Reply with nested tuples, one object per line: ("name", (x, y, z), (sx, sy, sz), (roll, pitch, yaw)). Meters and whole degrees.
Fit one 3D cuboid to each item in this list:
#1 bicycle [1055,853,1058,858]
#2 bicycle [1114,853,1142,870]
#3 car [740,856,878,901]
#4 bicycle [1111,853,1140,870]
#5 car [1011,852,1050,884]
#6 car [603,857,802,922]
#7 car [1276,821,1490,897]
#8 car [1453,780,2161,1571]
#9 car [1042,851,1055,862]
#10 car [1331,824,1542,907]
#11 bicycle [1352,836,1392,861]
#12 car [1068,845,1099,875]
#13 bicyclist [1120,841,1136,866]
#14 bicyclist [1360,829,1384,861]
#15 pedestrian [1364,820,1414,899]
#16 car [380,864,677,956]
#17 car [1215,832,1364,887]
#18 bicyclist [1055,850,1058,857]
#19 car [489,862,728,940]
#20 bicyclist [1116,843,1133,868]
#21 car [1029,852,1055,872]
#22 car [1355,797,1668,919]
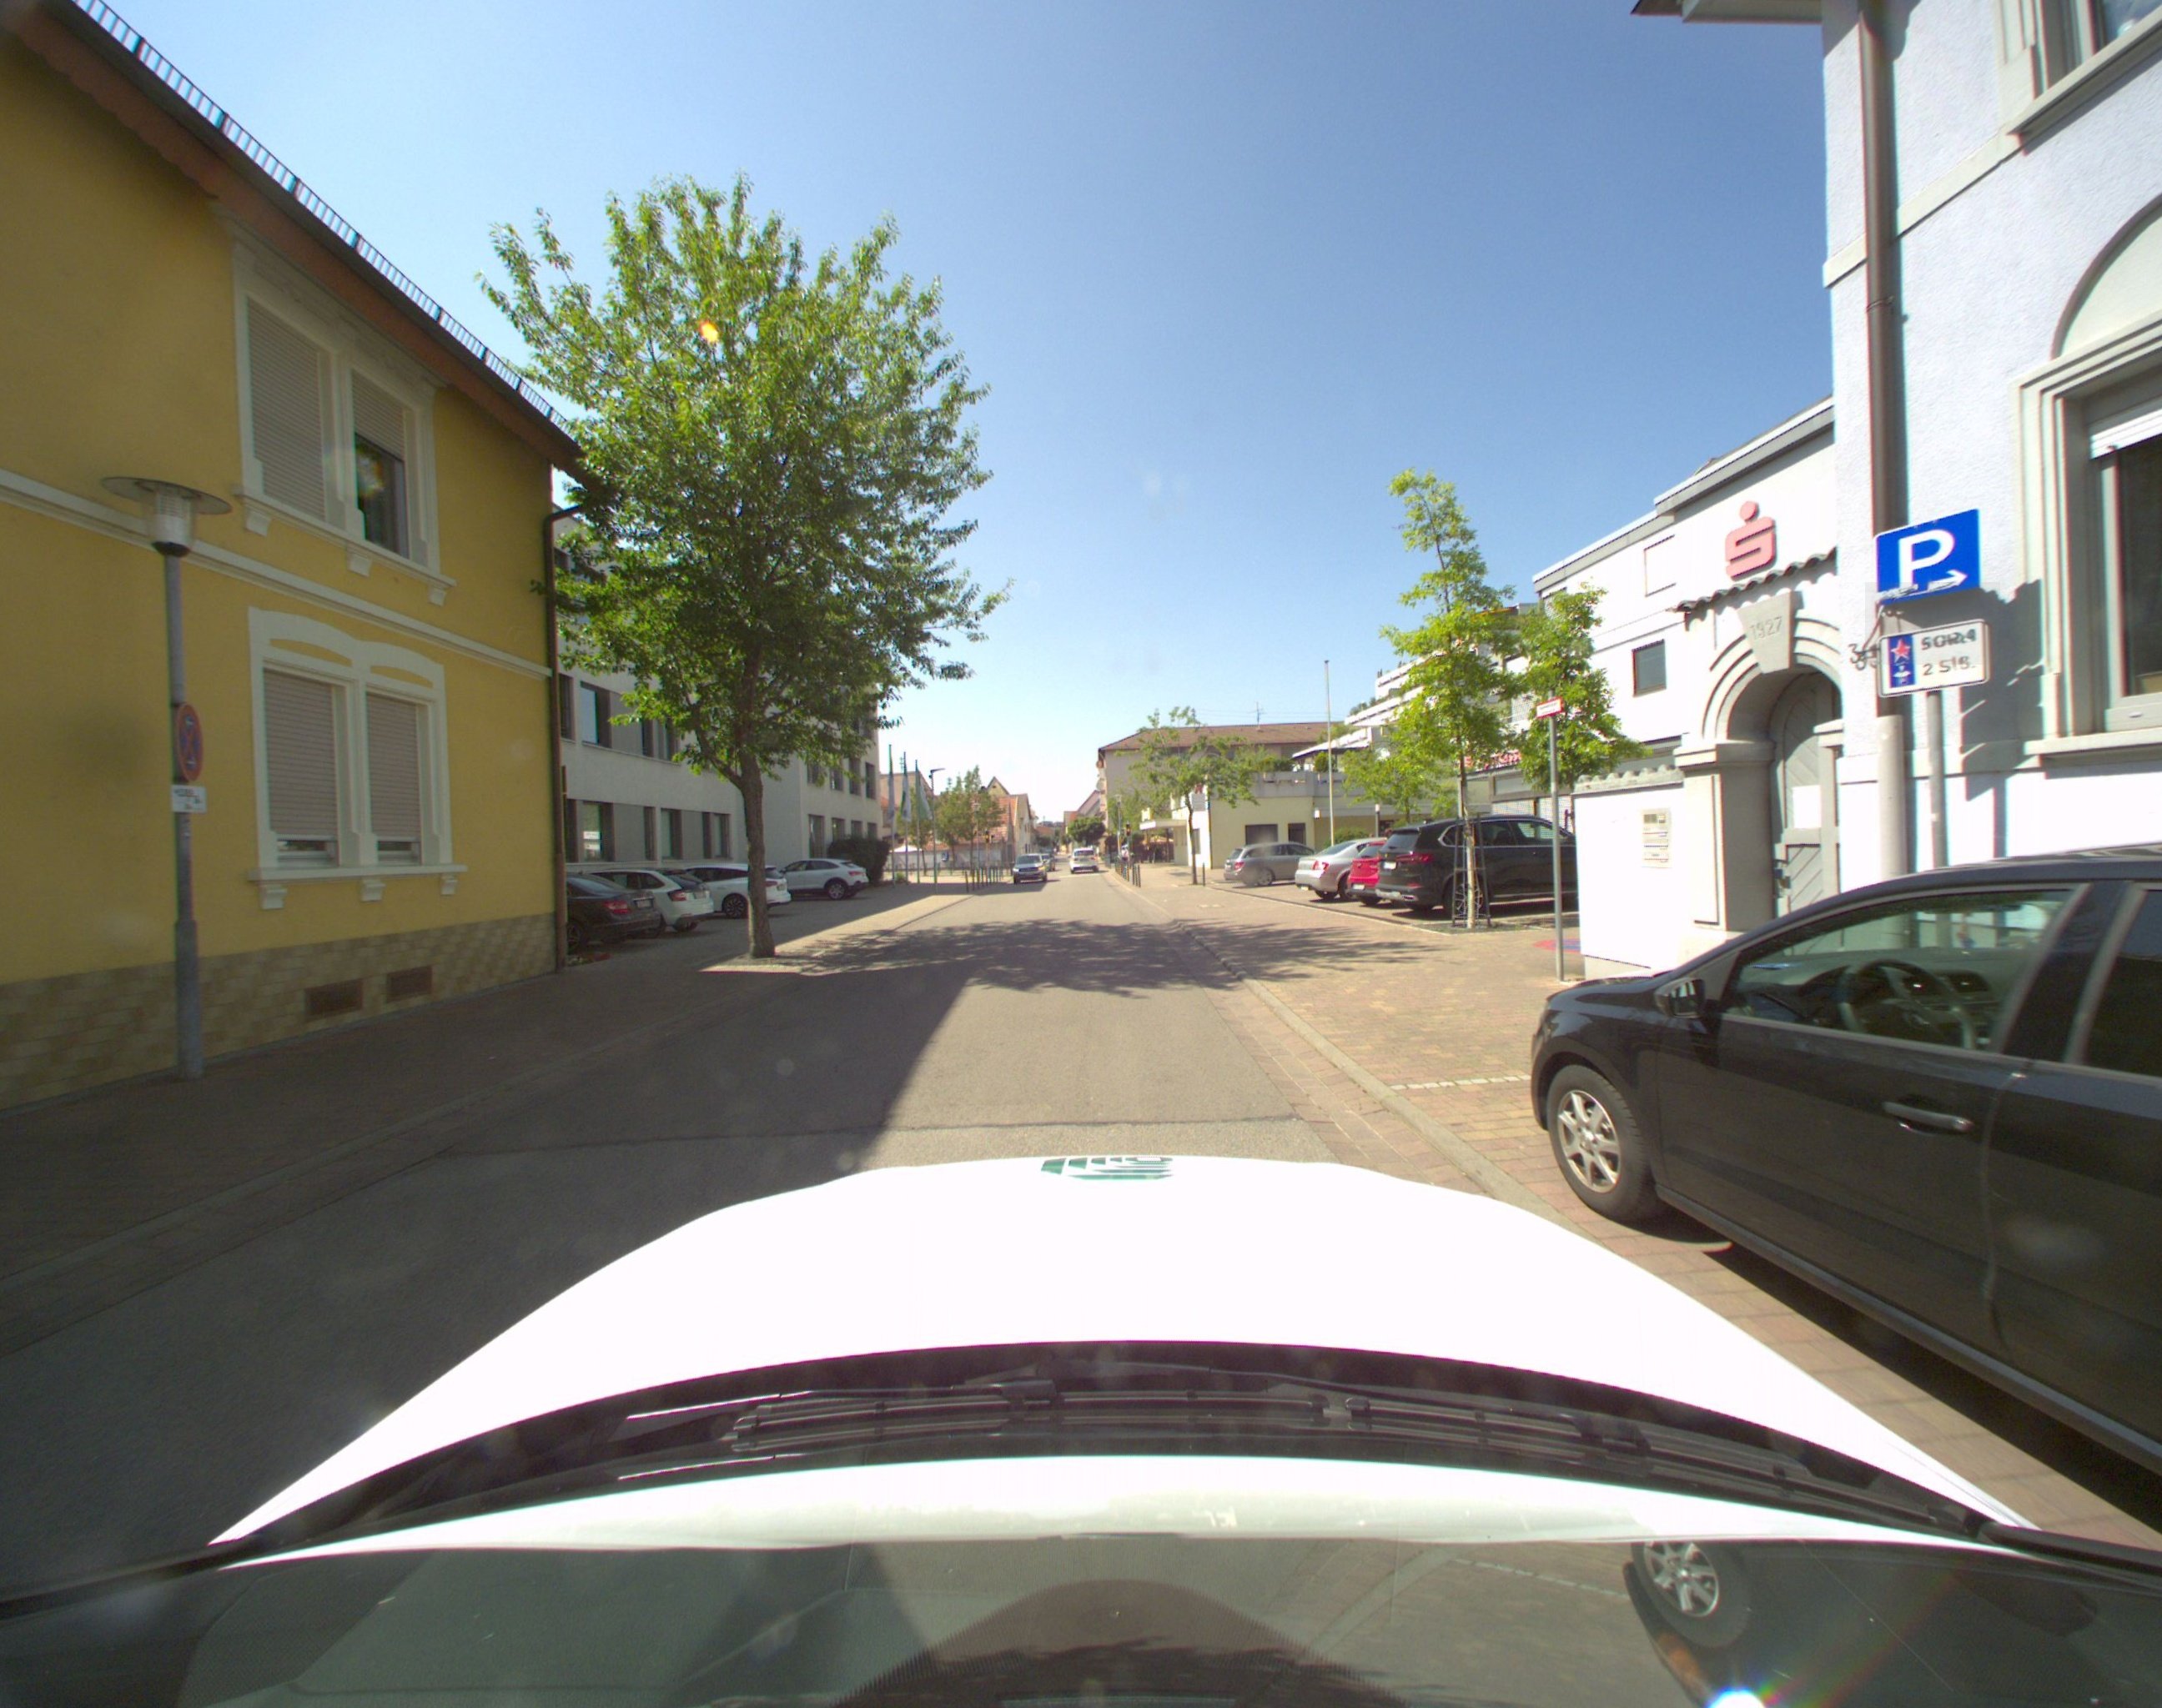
("bicycle", (-5.033, 0.271, 168.488), (0.662, 1.006, 1.897), (-2, 0, -1))
("bicycle", (3.221, 0.508, 55.295), (1.906, 0.958, 0.668), (-5, 1, -41))
("car", (-10.196, 0.898, 30.842), (4.495, 1.554, 2.146), (-1, 0, -2))
("bicycle", (2.941, 0.492, 54.072), (1.906, 0.958, 0.668), (-5, 1, -40))
("car", (-2.733, 0.728, 44.457), (1.845, 1.573, 3.999), (-2, 0, -1))
("car", (-10.293, 0.935, 22.408), (4.491, 1.554, 1.934), (-2, 1, -1))
("car", (7.330, 0.105, 19.957), (4.531, 1.440, 1.835), (-4, 0, -7))
("car", (2.828, 0.556, 2.203), (1.699, 1.481, 3.919), (-4, 0, -1))
("car", (-4.966, 0.375, 125.202), (1.707, 1.517, 3.787), (-2, 0, 1))
("car", (7.547, 0.222, 17.473), (3.725, 1.452, 1.741), (-3, 0, -7))
("bicycle", (14.239, -0.271, 39.778), (1.900, 1.109, 0.670), (-4, 1, -27))
("car", (0.171, 0.361, 53.723), (1.828, 1.651, 4.000), (-4, 2, 0))
("bicyclist", (3.191, -0.020, 55.308), (0.765, 1.664, 0.663), (-4, 0, -40))
("bicyclist", (14.196, -0.428, 39.756), (0.763, 1.526, 0.665), (-4, 1, -27))
("pedestrian", (7.037, 0.126, 18.629), (0.748, 1.717, 0.697), (-4, 0, -7))
("car", (-9.883, 0.955, 14.890), (3.980, 1.431, 1.969), (-1, 1, -5))
("car", (7.165, 0.180, 28.215), (4.571, 1.512, 1.912), (-4, 0, -7))
("bicyclist", (-5.032, -0.081, 168.548), (0.671, 1.483, 0.770), (-2, 0, -1))
("car", (-9.944, 0.954, 17.390), (3.977, 1.451, 1.806), (-1, 1, -3))
("bicyclist", (2.891, 0.125, 54.036), (0.766, 1.581, 0.663), (-5, 1, -40))
("car", (-3.150, 0.626, 65.922), (1.875, 1.464, 4.434), (-2, 0, -1))
("car", (7.799, 0.049, 15.115), (4.617, 1.771, 2.147), (-4, 1, -2))
